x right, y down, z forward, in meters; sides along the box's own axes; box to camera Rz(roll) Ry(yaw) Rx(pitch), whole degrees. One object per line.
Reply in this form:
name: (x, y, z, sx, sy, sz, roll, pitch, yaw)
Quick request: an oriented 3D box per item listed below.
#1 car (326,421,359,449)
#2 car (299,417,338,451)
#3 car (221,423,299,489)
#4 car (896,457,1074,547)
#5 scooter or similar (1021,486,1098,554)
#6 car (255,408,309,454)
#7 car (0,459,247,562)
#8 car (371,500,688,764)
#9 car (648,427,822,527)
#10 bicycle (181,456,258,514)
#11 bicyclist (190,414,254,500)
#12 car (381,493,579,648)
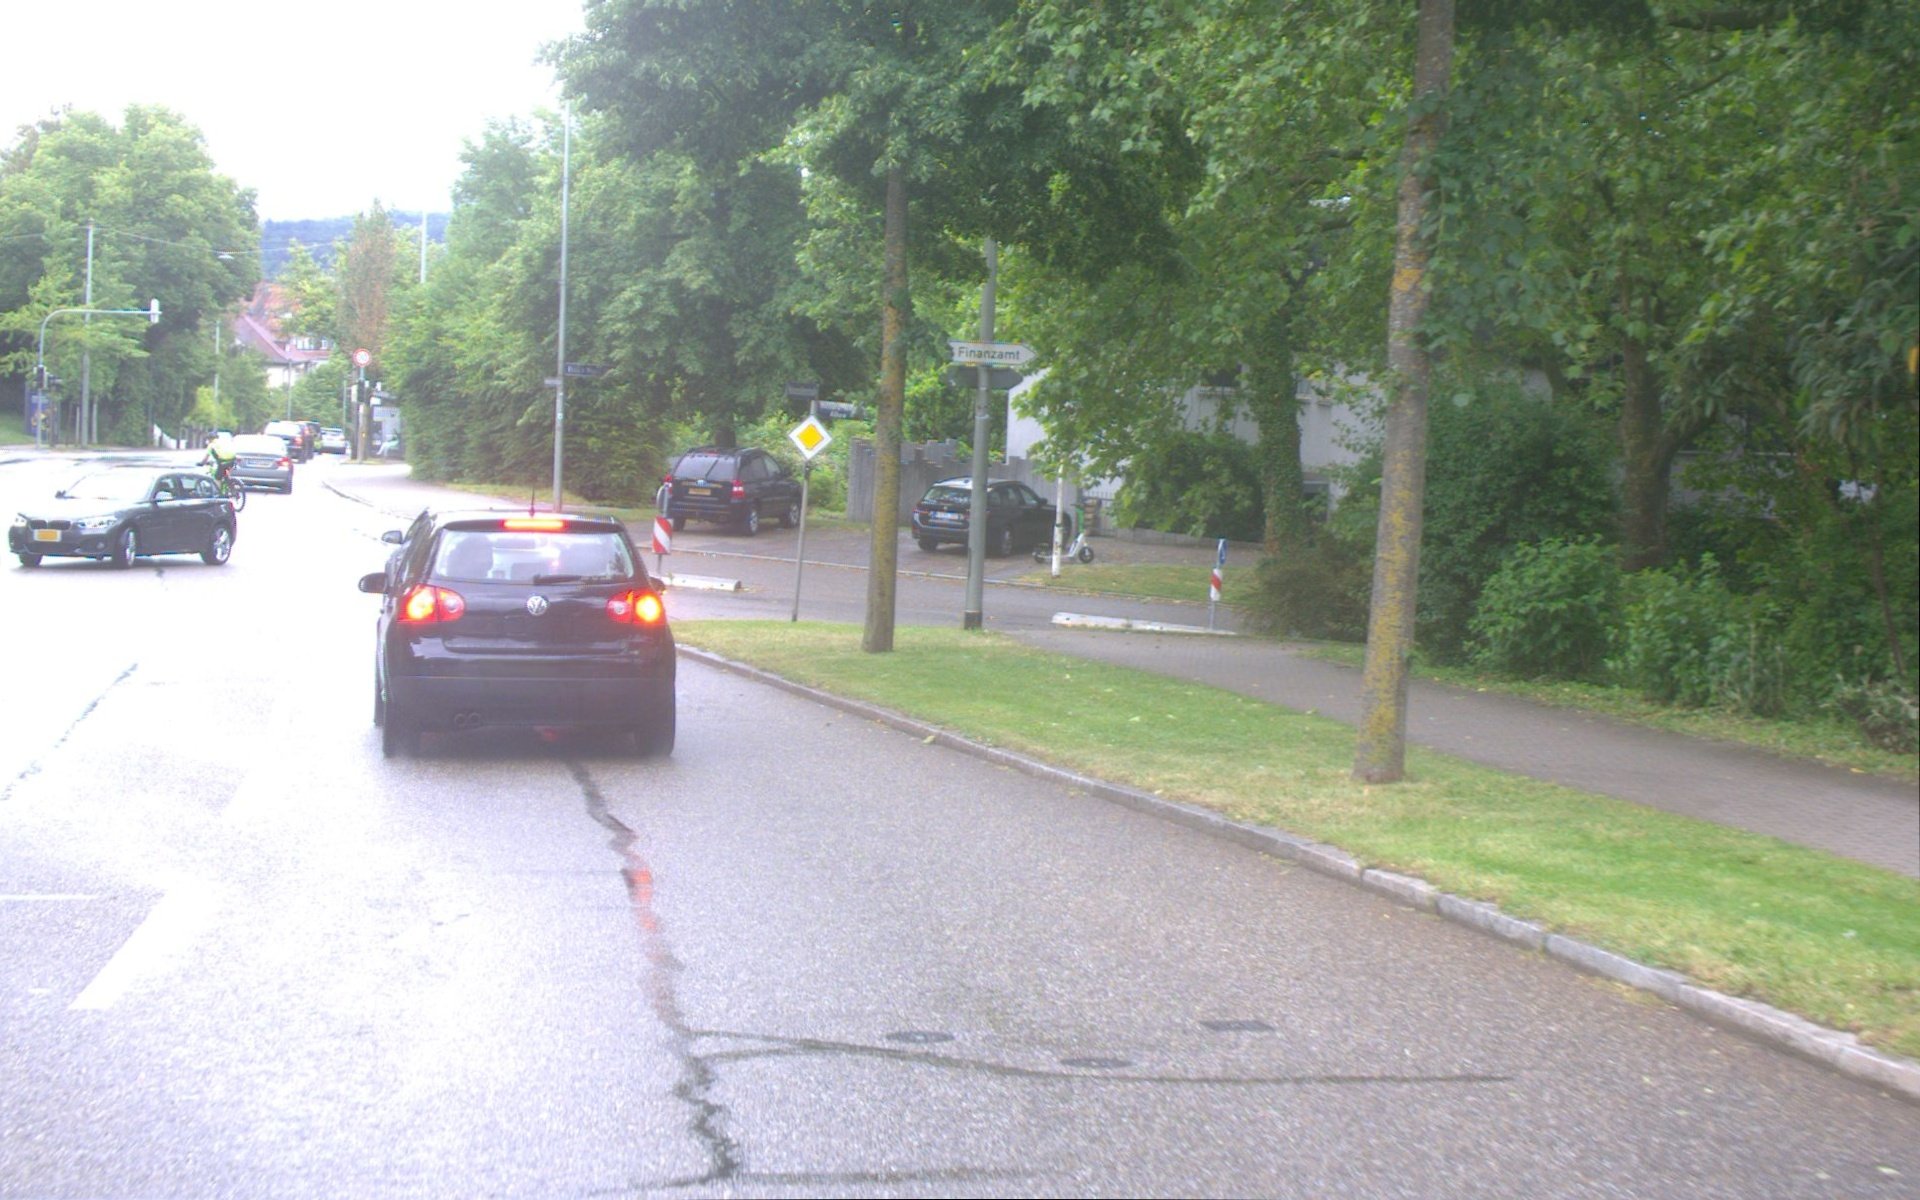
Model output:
car: (-36.287, -9.684, 201.961, 1.721, 1.459, 4.002, 5, 2, -11)
car: (-31.117, -8.043, 166.799, 1.721, 1.459, 4.002, 5, 2, -11)
car: (-17.598, -3.637, 86.547, 1.721, 1.459, 4.002, 5, 2, -11)
car: (0.539, -1.985, 68.601, 1.753, 1.464, 4.560, 6, 6, 24)
scooter or similar: (1.927, -1.550, 66.466, 1.335, 1.281, 0.562, 0, 3, -18)
car: (-24.107, -6.030, 122.360, 1.721, 1.459, 4.002, 5, 2, -11)
car: (-12.347, -1.296, 50.723, 1.723, 1.379, 4.136, 3, 1, 18)
car: (-2.807, 0.138, 21.739, 1.721, 1.459, 4.001, 2, 1, -10)
car: (-4.543, -2.551, 70.199, 1.949, 1.683, 4.901, 5, 6, 15)
bicycle: (-15.544, -2.426, 72.135, 0.852, 1.151, 2.038, 1, 2, -34)
bicyclist: (-15.484, -3.000, 72.068, 0.852, 1.749, 1.286, 1, 2, -34)
car: (-5.198, -0.360, 36.862, 1.754, 1.459, 4.002, 1, 2, -12)
